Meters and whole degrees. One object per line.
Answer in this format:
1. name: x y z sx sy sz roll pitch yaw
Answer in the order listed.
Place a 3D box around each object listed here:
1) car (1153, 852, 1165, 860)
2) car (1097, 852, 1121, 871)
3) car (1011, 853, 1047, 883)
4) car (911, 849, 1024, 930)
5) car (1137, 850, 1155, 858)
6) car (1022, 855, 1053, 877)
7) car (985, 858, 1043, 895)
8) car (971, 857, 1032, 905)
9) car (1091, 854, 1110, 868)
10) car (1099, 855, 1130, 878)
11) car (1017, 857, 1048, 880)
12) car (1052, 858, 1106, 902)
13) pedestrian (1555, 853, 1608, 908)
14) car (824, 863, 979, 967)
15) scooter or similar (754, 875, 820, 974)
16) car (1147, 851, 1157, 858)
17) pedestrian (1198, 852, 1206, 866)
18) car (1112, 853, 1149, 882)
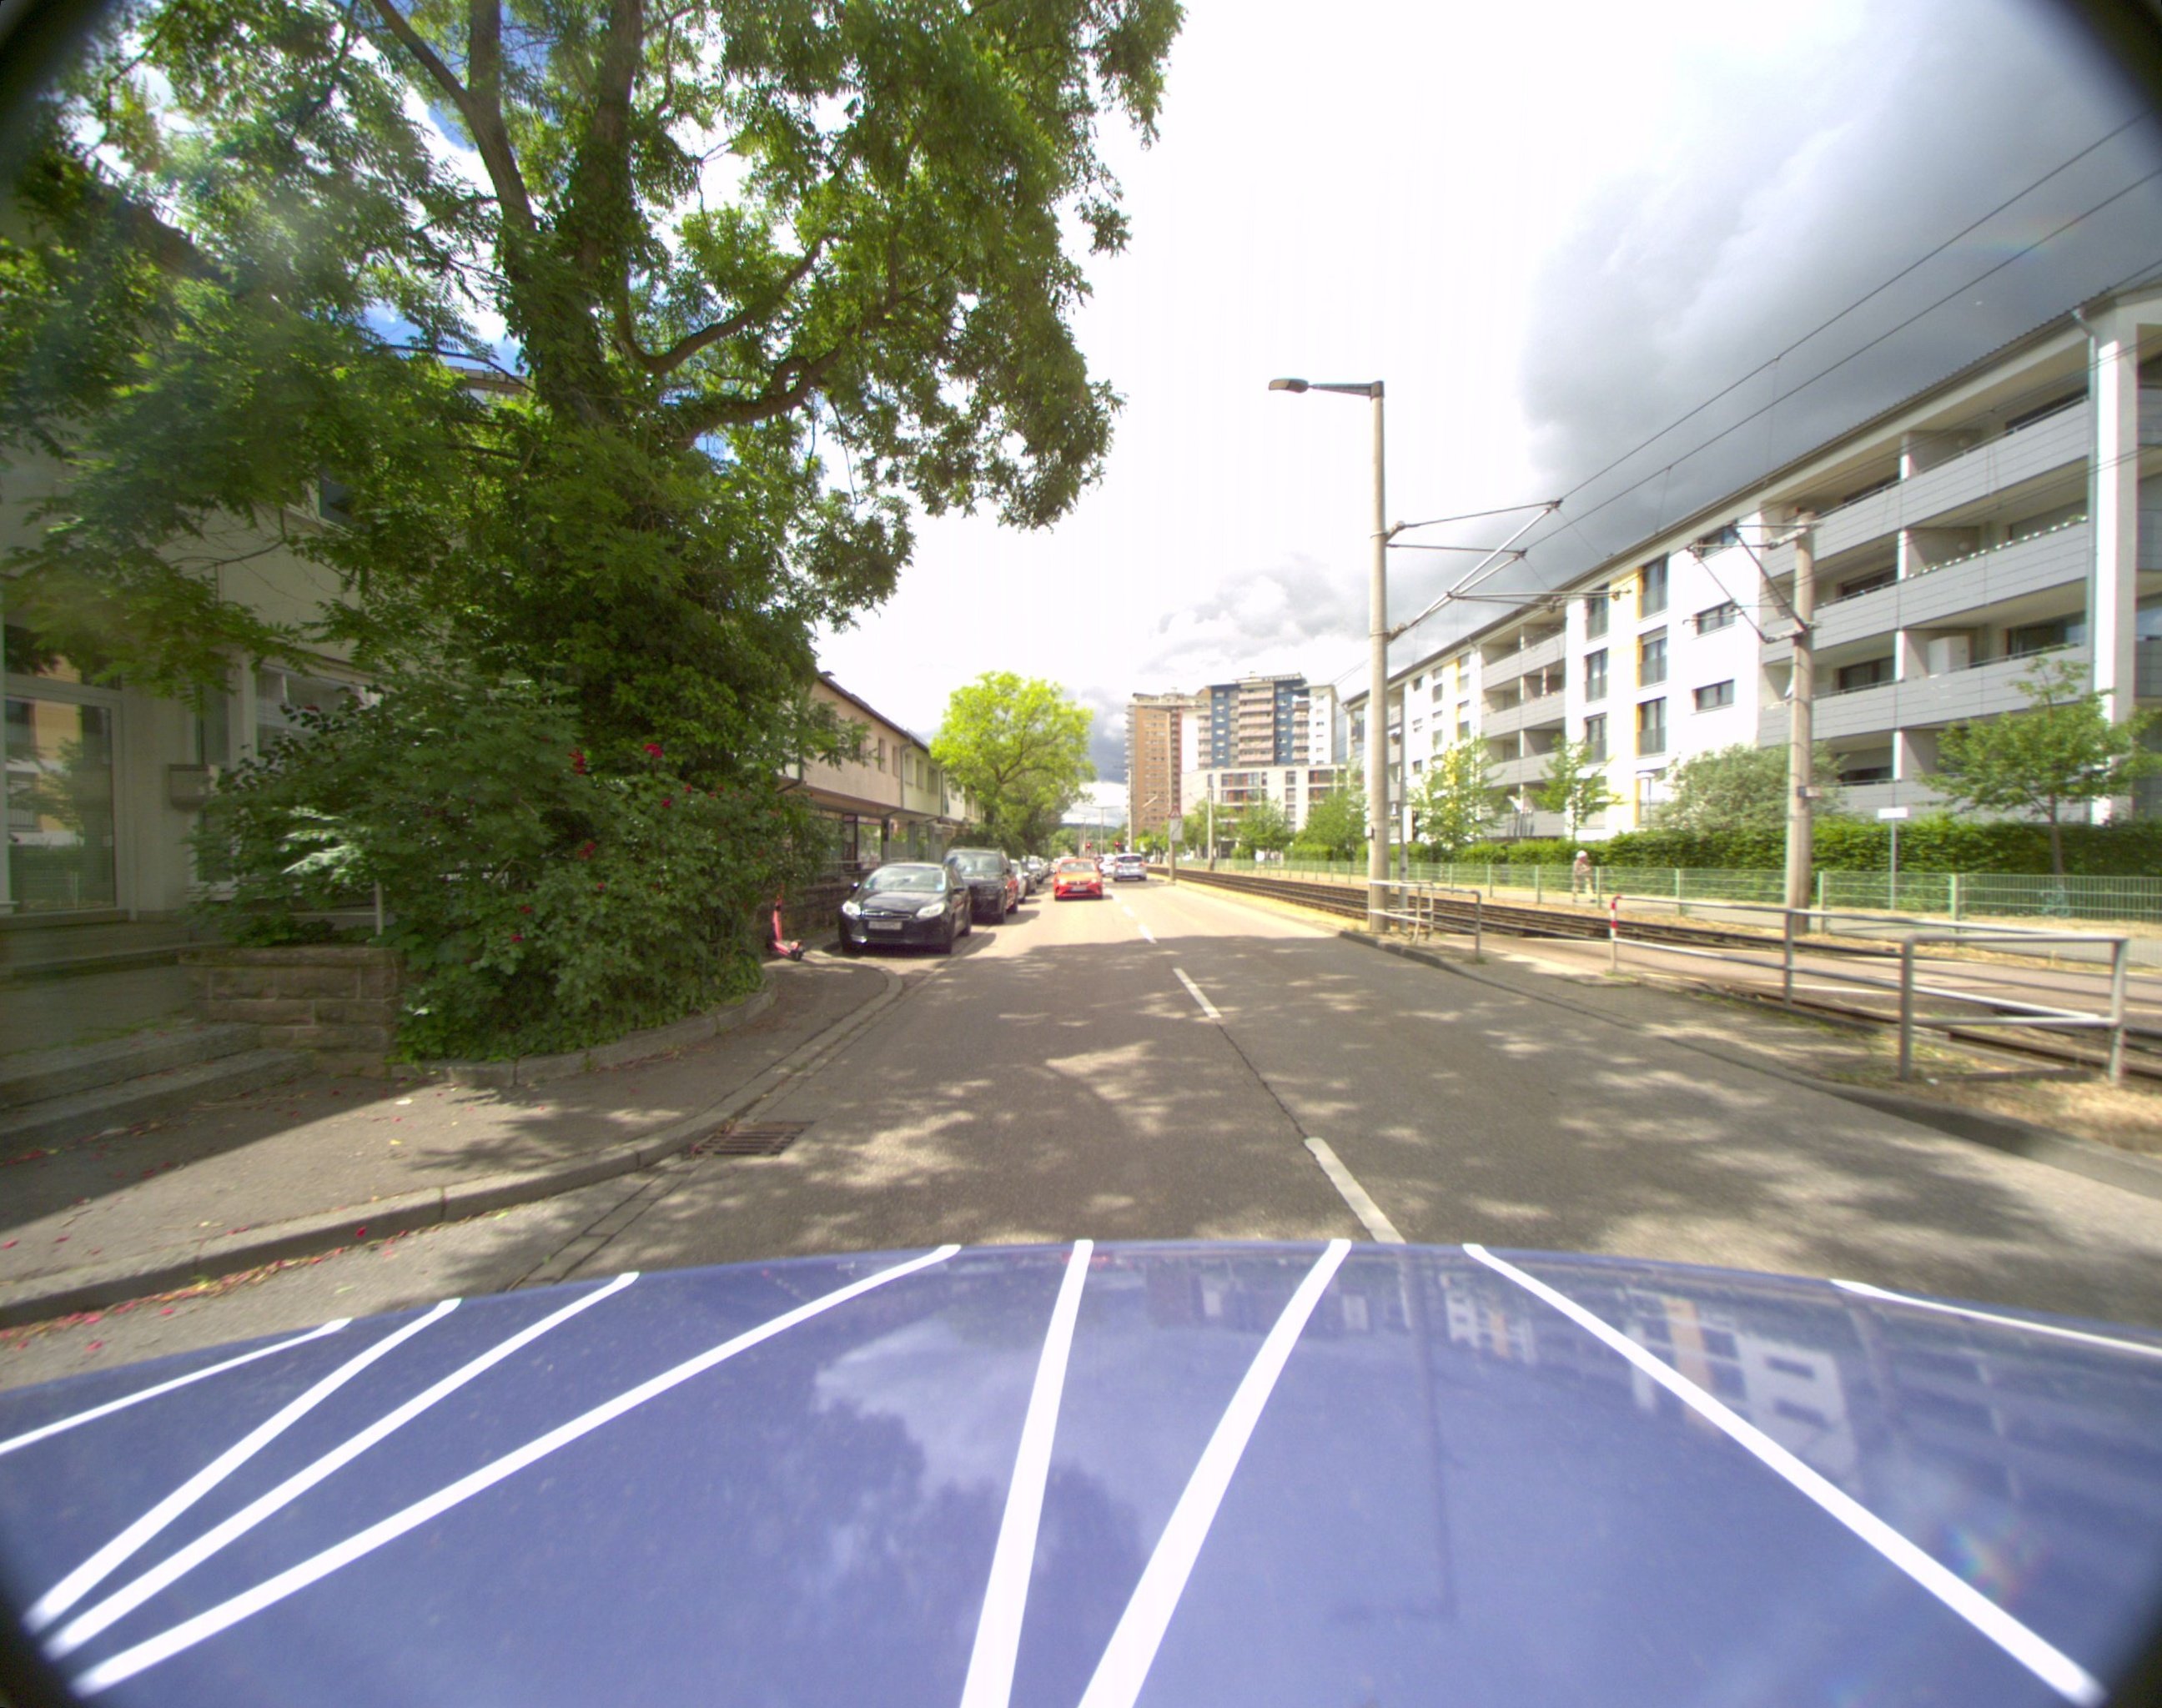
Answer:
1. car: 14.897 0.313 144.491 1.781 1.530 3.803 -1 0 -2
2. car: 2.564 0.649 70.618 1.862 1.680 4.432 -1 0 -2
3. car: -2.980 0.770 44.143 1.842 1.634 4.429 -1 0 -1
4. car: -2.706 0.768 19.400 2.020 1.778 5.076 0 0 1
5. car: 15.554 -0.020 181.822 4.505 1.914 1.877 -1 1 -42
6. car: -3.137 0.853 55.661 1.818 1.490 4.911 -1 0 1
7. car: -2.724 0.894 31.672 1.775 1.341 4.001 2 0 3
8. car: -2.682 0.873 26.379 1.776 1.434 3.898 2 0 -2
9. car: 2.020 0.721 79.392 1.815 1.437 4.464 -1 0 0
10. car: 2.359 0.877 54.610 1.822 1.494 4.836 -2 0 -1
11. car: -3.112 0.905 49.697 1.729 1.418 4.445 -1 0 0
12. car: -0.067 0.893 27.770 1.792 1.387 4.241 -2 0 0
13. pedestrian: 13.985 0.728 21.247 0.798 1.474 0.995 -1 1 -1
14. car: -2.984 0.941 13.568 1.839 1.497 4.241 0 0 -1
15. scooter or similar: -3.998 0.915 10.299 0.537 1.235 1.233 0 0 -35
16. car: 16.511 0.070 177.513 1.781 1.650 3.803 -1 0 -2
17. pedestrian: 13.733 0.564 86.228 0.756 1.603 0.937 -1 1 -1
18. car: 2.900 0.754 45.153 1.822 1.604 4.601 -2 0 -1
